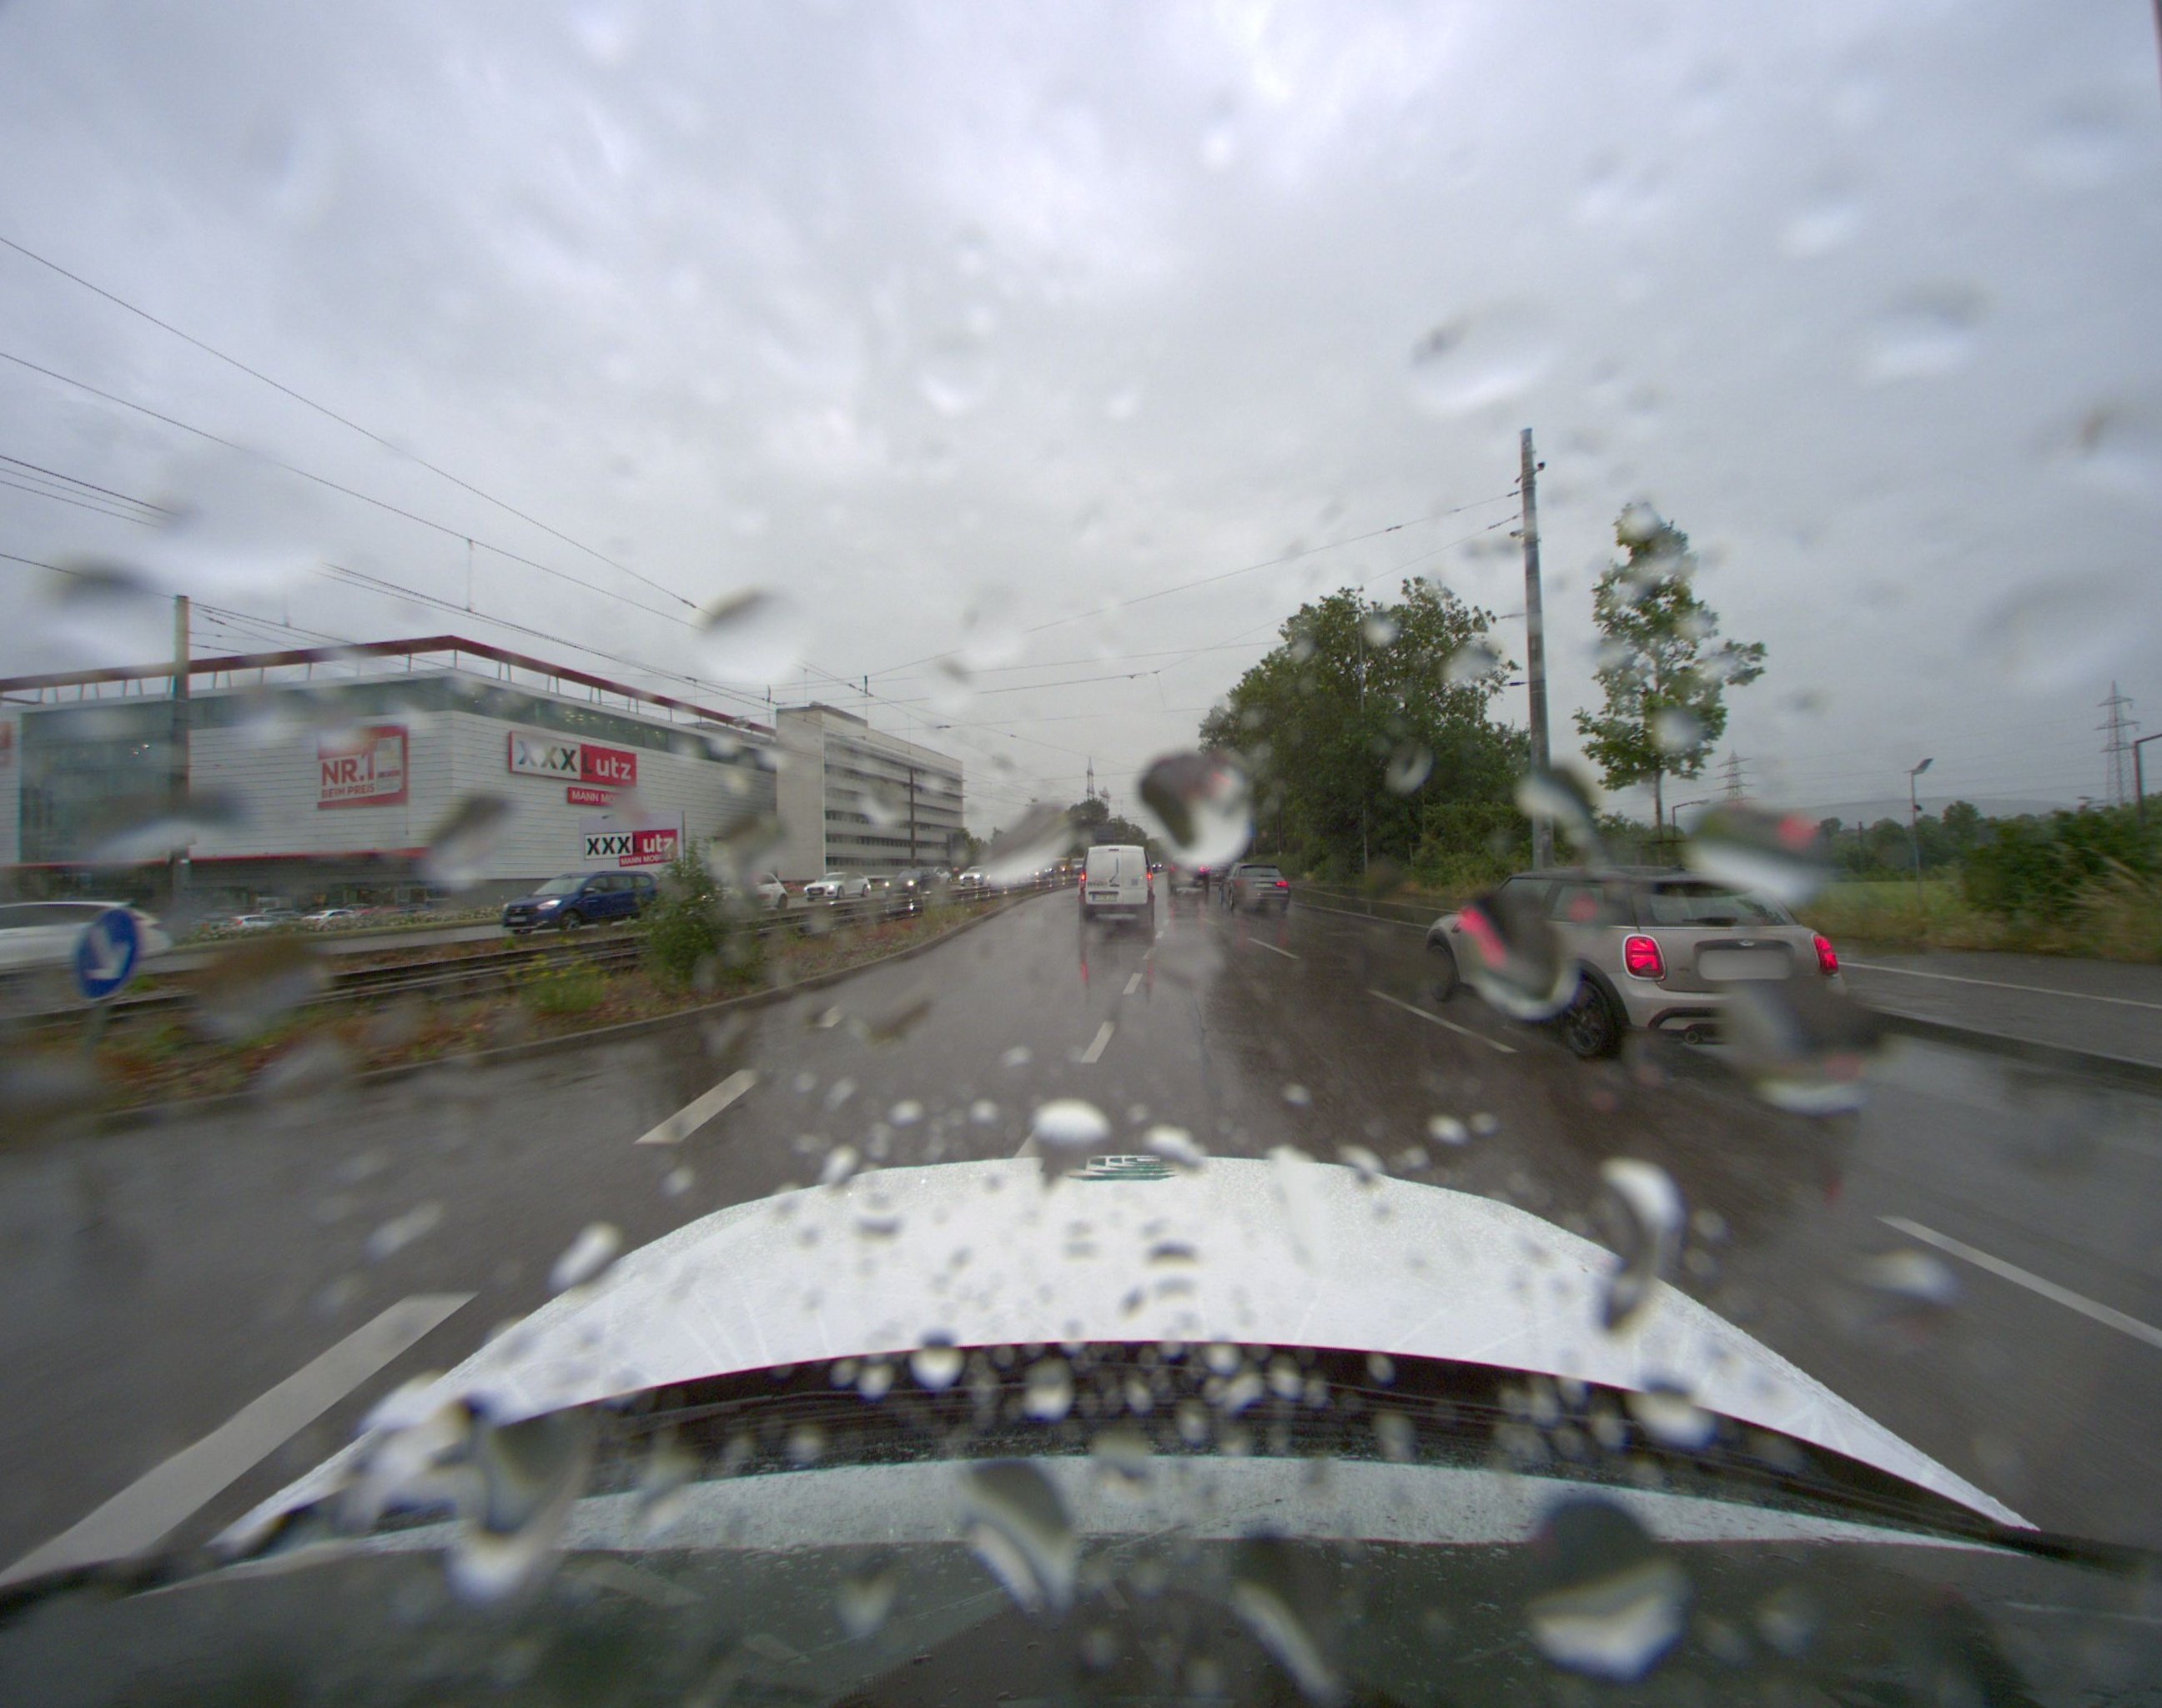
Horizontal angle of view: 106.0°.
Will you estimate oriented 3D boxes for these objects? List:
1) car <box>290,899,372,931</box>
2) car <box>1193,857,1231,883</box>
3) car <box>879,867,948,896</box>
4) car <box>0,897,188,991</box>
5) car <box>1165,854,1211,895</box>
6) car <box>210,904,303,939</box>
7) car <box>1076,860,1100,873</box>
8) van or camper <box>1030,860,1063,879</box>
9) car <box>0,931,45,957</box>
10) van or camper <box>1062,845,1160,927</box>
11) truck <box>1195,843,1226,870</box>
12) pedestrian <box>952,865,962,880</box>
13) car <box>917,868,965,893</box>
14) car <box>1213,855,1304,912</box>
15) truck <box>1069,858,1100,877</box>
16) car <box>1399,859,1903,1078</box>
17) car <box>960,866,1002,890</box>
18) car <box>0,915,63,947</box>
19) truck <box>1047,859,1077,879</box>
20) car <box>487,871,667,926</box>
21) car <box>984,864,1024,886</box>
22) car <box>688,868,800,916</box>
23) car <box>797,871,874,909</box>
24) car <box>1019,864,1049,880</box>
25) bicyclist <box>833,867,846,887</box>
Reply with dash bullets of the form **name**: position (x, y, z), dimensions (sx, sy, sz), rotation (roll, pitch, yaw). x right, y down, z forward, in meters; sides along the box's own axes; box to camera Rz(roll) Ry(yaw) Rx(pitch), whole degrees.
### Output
- **car**: position (-55.128, 4.441, 59.956), dimensions (1.982, 2.014, 4.008), rotation (1, 0, 8)
- **car**: position (7.702, 0.930, 48.134), dimensions (1.810, 1.414, 3.782), rotation (-1, 0, 3)
- **car**: position (-9.296, 1.495, 45.647), dimensions (1.910, 1.423, 5.100), rotation (0, 1, 12)
- **car**: position (-19.367, 1.629, 14.273), dimensions (1.800, 1.436, 4.728), rotation (0, 1, 12)
- **car**: position (4.780, 0.856, 36.943), dimensions (1.890, 1.717, 4.733), rotation (-1, 0, 5)
- **car**: position (-55.830, 4.517, 55.252), dimensions (1.982, 2.014, 4.008), rotation (1, 0, 8)
- **car**: position (0.881, 1.583, 100.029), dimensions (1.981, 1.457, 4.685), rotation (-4, -2, 11)
- **van or camper**: position (-3.767, 1.731, 90.212), dimensions (2.289, 2.014, 5.705), rotation (0, 0, 12)
- **car**: position (-59.725, 4.980, 44.393), dimensions (1.539, 1.264, 3.731), rotation (0, -1, 7)
- **van or camper**: position (0.850, 0.681, 19.878), dimensions (1.982, 1.784, 4.009), rotation (0, 1, 8)
- **truck**: position (13.833, 0.263, 86.465), dimensions (3.094, 2.773, 6.347), rotation (-1, 0, 10)
- **pedestrian**: position (-14.696, 2.206, 96.862), dimensions (0.817, 1.763, 1.053), rotation (1, -1, 12)
- **car**: position (-10.056, 1.897, 58.864), dimensions (1.896, 1.606, 4.855), rotation (1, 0, 9)
- **car**: position (5.232, 0.821, 24.492), dimensions (1.960, 1.528, 3.992), rotation (-1, 0, 1)
- **truck**: position (0.526, 1.766, 109.742), dimensions (2.418, 2.458, 7.245), rotation (0, 0, 14)
- **car**: position (4.504, 0.790, 7.284), dimensions (1.786, 1.414, 3.852), rotation (0, -1, -1)
- **car**: position (-8.268, 1.966, 67.634), dimensions (1.980, 1.834, 4.707), rotation (-2, -1, 11)
- **car**: position (-76.954, 5.544, 58.651), dimensions (1.982, 2.014, 4.008), rotation (1, 0, 8)
- **truck**: position (-2.295, 1.805, 100.452), dimensions (2.211, 2.462, 6.089), rotation (0, 0, 14)
- **car**: position (-13.982, 1.180, 22.978), dimensions (1.701, 1.249, 4.476), rotation (0, 1, 11)
- **car**: position (-5.847, 1.585, 62.482), dimensions (1.861, 1.573, 4.342), rotation (0, 1, 12)
- **car**: position (-12.387, 1.354, 30.236), dimensions (1.699, 1.535, 4.064), rotation (0, 1, 15)
- **car**: position (-13.257, 1.895, 44.310), dimensions (1.981, 1.901, 4.804), rotation (0, -1, 11)
- **car**: position (-4.869, 1.862, 84.869), dimensions (1.845, 1.618, 4.924), rotation (-3, -1, 12)
- **bicyclist**: position (-19.987, 1.907, 67.394), dimensions (0.667, 1.589, 0.794), rotation (0, -1, 10)
